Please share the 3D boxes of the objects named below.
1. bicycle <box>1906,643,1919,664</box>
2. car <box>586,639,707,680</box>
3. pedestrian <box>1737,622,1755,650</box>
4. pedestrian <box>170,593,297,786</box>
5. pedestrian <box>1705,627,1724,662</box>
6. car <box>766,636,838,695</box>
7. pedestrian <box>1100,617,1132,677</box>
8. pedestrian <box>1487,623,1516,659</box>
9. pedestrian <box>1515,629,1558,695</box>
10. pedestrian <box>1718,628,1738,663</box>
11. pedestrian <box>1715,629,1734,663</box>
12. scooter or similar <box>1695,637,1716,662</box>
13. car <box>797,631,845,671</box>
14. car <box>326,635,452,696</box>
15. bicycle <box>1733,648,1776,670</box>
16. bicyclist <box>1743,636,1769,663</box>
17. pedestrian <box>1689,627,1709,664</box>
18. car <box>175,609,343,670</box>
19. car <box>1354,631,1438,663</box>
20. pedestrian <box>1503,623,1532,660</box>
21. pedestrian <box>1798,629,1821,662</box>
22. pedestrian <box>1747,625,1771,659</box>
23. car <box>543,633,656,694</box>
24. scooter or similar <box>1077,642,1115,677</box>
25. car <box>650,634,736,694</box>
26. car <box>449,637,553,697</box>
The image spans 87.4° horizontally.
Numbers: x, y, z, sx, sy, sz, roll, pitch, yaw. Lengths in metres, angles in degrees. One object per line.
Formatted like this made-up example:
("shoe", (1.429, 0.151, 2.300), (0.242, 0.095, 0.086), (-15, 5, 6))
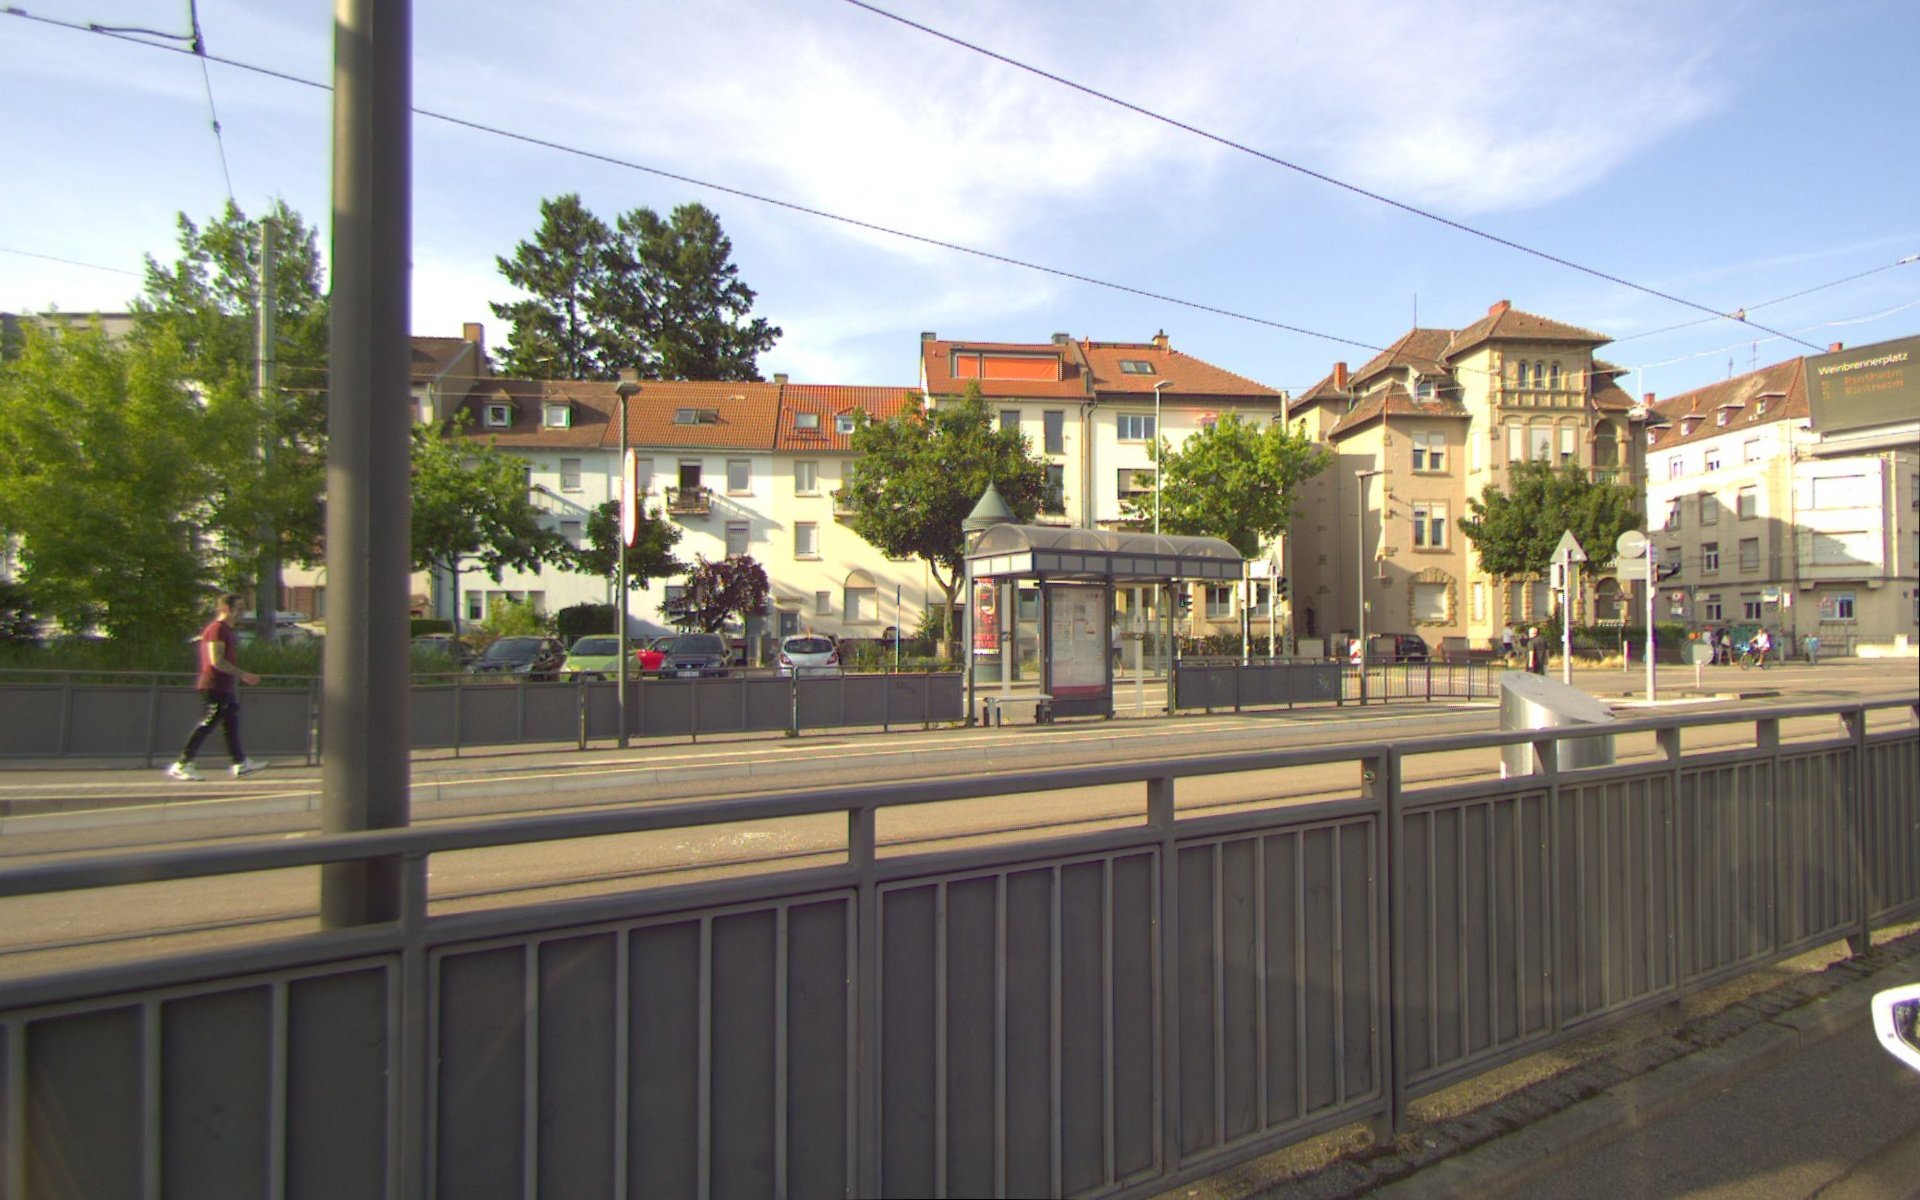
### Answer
("bicycle", (44.333, 2.396, 45.462), (2.947, 0.926, 0.785), (0, -2, -15))
("car", (-11.232, 2.126, 36.243), (3.927, 1.416, 1.836), (0, -2, -9))
("pedestrian", (47.822, 2.190, 61.094), (0.576, 1.682, 0.620), (0, -2, -14))
("pedestrian", (-6.747, 0.823, 9.379), (0.867, 1.706, 0.551), (1, -5, -30))
("pedestrian", (33.490, 1.978, 44.586), (0.540, 1.520, 0.437), (0, -2, -15))
("car", (-4.355, 1.768, 27.820), (1.815, 1.505, 3.995), (0, -2, -9))
("pedestrian", (4.663, 1.395, 30.000), (0.755, 1.769, 0.544), (1, -2, -34))
("pedestrian", (23.978, 1.814, 44.508), (0.768, 1.572, 0.831), (0, -2, -8))
("pedestrian", (14.749, 1.572, 25.731), (0.778, 1.667, 0.757), (-1, -2, 16))
("pedestrian", (33.694, 2.005, 44.082), (0.540, 1.520, 0.437), (0, -2, -15))
("pedestrian", (34.190, 2.067, 44.913), (0.382, 1.520, 0.535), (0, -2, -15))
("scooter or similar", (33.665, 2.227, 45.353), (0.675, 1.093, 0.541), (2, 0, -30))
("car", (-6.064, 2.202, 44.203), (1.962, 1.684, 3.997), (0, -2, -6))
("car", (-14.410, 1.603, 25.590), (1.968, 1.416, 3.985), (0, -2, -18))
("bicycle", (32.124, 2.367, 40.592), (1.659, 0.845, 0.526), (0, -2, -18))
("bicyclist", (32.213, 1.990, 40.640), (0.669, 1.058, 0.512), (0, -2, -19))
("pedestrian", (33.077, 2.025, 44.964), (0.601, 1.647, 0.506), (1, -2, -29))
("car", (-18.661, 1.049, 26.983), (1.813, 1.505, 3.999), (0, -2, -3))
("car", (20.364, 2.177, 47.123), (1.732, 1.327, 4.111), (2, 0, -7))
("pedestrian", (24.169, 1.796, 43.561), (0.768, 1.572, 0.831), (0, -2, -8))
("pedestrian", (40.467, 2.171, 47.840), (0.702, 1.561, 0.626), (1, -2, -30))
("pedestrian", (48.727, 2.553, 61.270), (0.773, 2.040, 0.775), (0, -2, -15))
("car", (-9.664, 1.674, 27.260), (1.813, 1.505, 3.999), (0, -2, -3))
("scooter or similar", (3.986, 1.737, 29.429), (1.012, 1.001, 0.553), (1, -2, -32))
("car", (-7.172, 1.685, 27.282), (1.815, 1.505, 3.995), (0, -2, -9))
("car", (-11.889, 1.679, 26.250), (1.968, 1.416, 3.985), (0, -2, -18))
